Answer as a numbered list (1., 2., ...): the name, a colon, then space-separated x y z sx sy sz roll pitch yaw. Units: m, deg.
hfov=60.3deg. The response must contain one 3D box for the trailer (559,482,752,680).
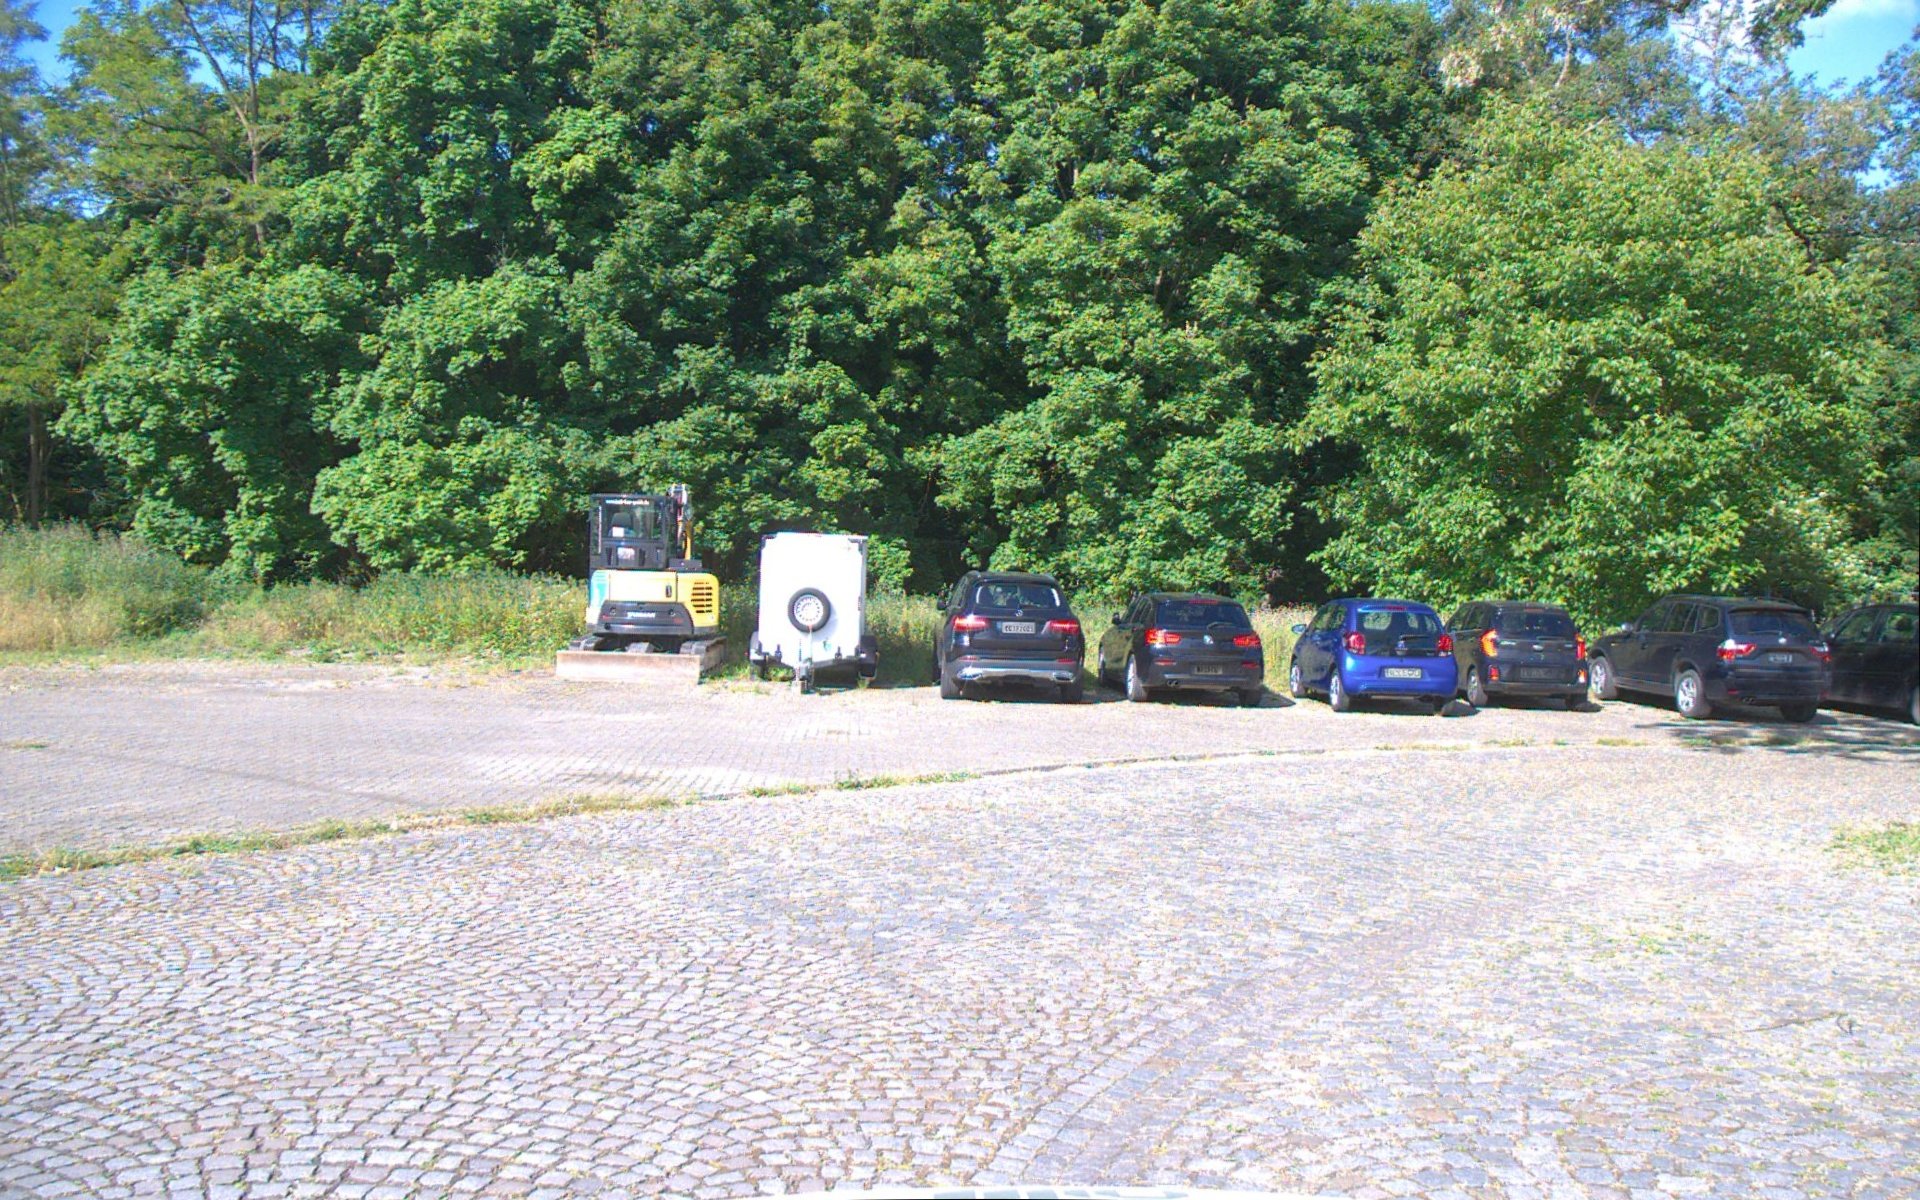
1. trailer: -4.270 -0.345 23.634 2.213 2.582 2.851 2 3 -1

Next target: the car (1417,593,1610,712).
1. car: 8.045 0.701 24.371 1.702 1.476 3.727 2 1 3

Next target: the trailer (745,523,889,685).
1. trailer: -1.968 0.023 23.463 1.781 2.086 2.850 2 1 -1

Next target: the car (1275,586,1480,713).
1. car: 5.700 0.615 23.022 1.744 1.484 3.789 2 1 -2

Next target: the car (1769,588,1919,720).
1. car: 13.923 0.771 24.044 1.789 1.616 4.268 1 4 -7

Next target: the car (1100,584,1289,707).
1. car: 3.129 0.554 22.814 1.851 1.436 3.788 2 1 -3

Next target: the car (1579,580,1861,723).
1. car: 10.866 0.661 24.037 1.837 1.659 4.271 2 3 -4

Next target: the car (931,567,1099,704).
1. car: 0.647 0.397 22.551 1.925 1.617 4.129 2 1 -3
